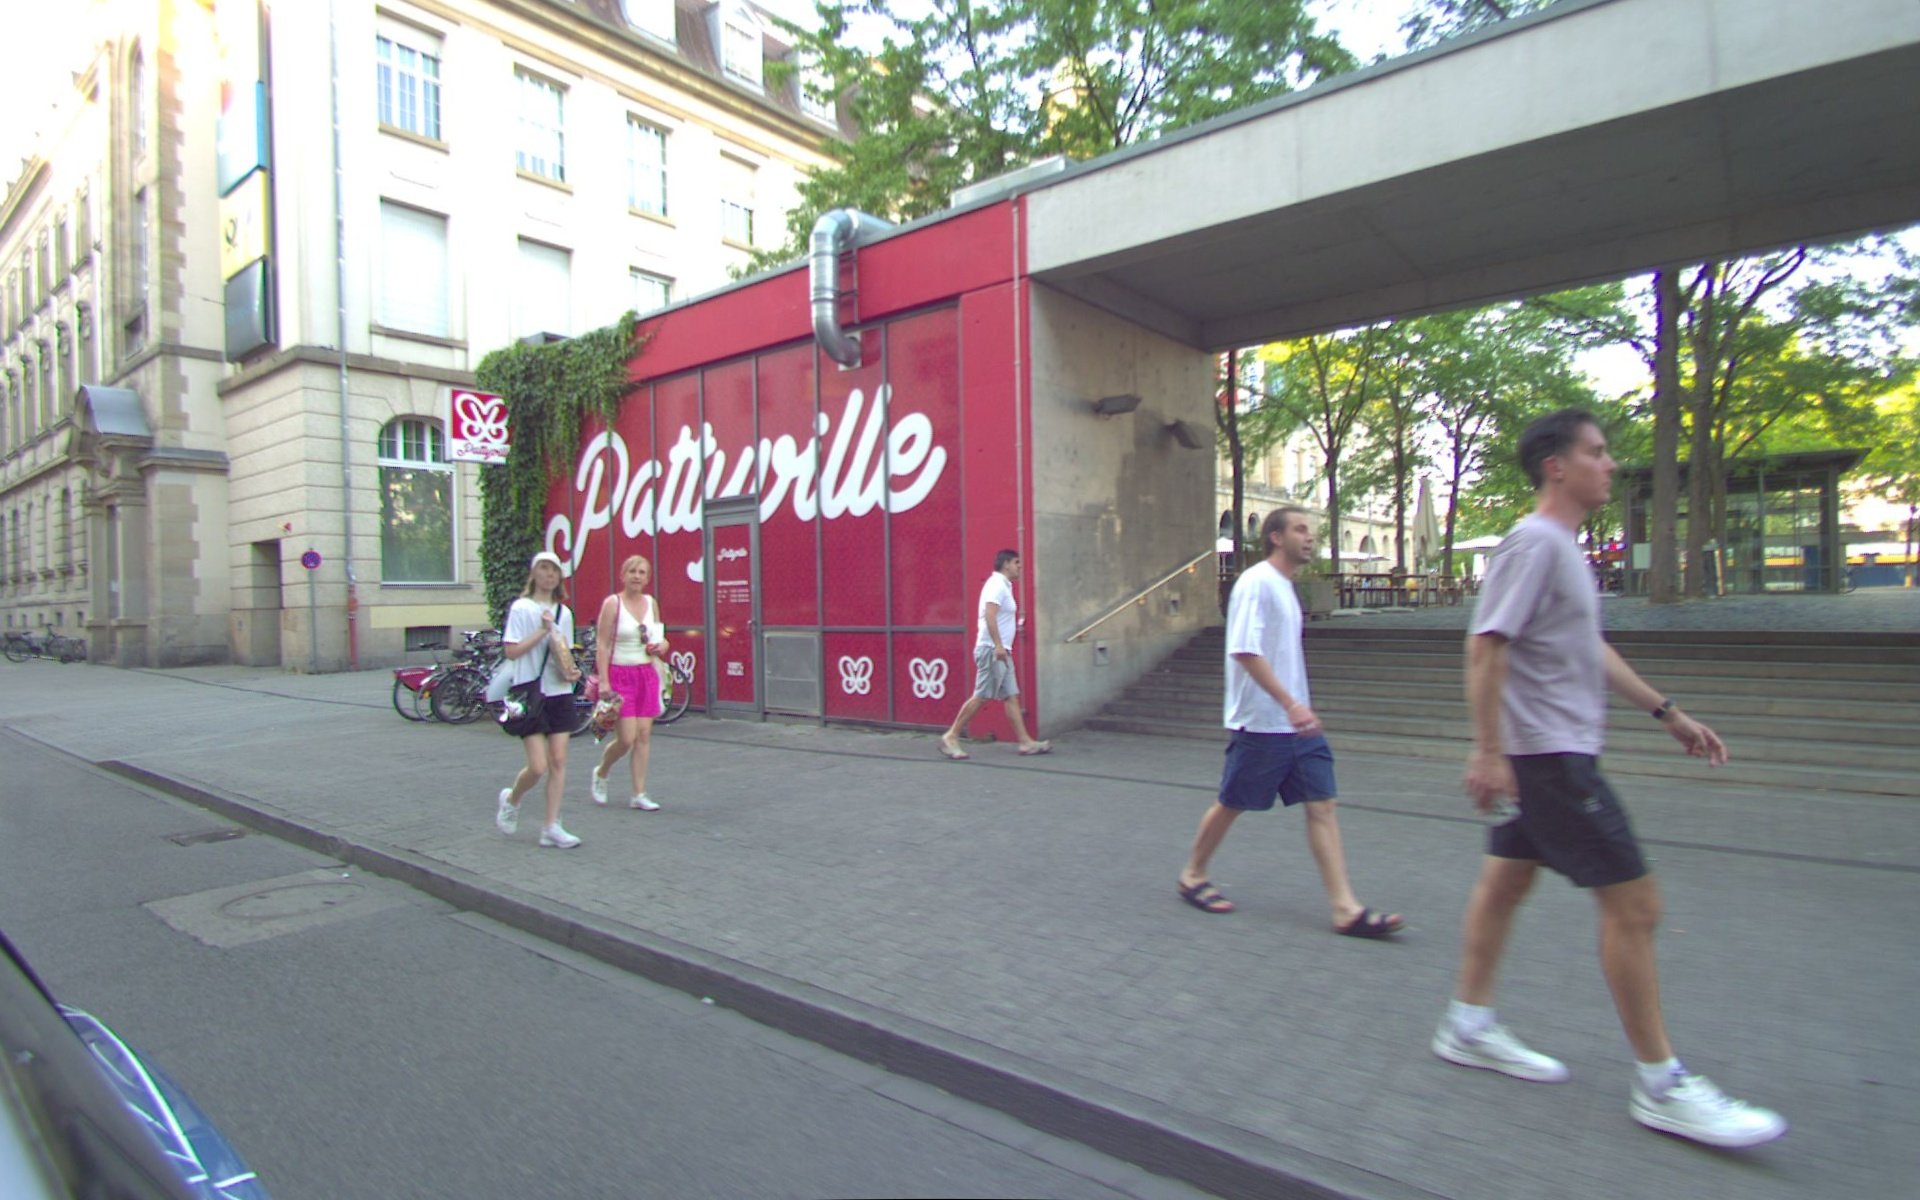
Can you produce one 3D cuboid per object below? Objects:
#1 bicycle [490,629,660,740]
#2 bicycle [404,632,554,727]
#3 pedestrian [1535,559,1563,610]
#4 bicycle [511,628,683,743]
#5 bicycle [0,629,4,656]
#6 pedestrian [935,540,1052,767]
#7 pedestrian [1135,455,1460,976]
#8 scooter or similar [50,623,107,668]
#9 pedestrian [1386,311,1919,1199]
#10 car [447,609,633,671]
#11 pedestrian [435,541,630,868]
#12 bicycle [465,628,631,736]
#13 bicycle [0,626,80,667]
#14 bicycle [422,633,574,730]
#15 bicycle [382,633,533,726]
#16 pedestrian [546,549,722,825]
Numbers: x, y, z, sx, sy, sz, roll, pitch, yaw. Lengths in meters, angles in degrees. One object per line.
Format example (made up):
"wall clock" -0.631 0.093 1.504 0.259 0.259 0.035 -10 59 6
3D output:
"bicycle" -4.414 0.931 11.700 0.500 1.116 1.775 -2 0 42
"bicycle" -6.448 1.033 13.644 0.499 1.116 1.777 -2 0 38
"pedestrian" 27.347 -0.700 46.986 0.802 2.348 0.741 -1 -1 -29
"bicycle" -4.049 0.922 11.405 0.500 1.116 1.775 -2 0 42
"bicycle" -39.597 1.771 40.441 0.618 1.069 1.922 -1 2 33
"pedestrian" 0.286 0.426 8.424 0.837 1.767 0.718 -3 0 4
"pedestrian" 1.379 0.401 4.142 1.008 1.826 0.734 -2 2 39
"scooter or similar" -25.700 1.318 29.521 0.494 1.242 1.126 -2 1 27
"pedestrian" 1.844 0.354 2.732 1.049 1.908 0.736 -2 0 40
"car" -10.430 0.952 25.333 1.748 1.381 3.966 -2 -1 38
"pedestrian" -2.552 0.571 6.030 0.984 1.763 0.642 -2 0 39
"bicycle" -4.890 0.941 12.116 0.500 1.116 1.775 -2 0 42
"bicycle" -28.859 1.429 31.632 0.616 1.069 1.928 -1 3 24
"bicycle" -6.034 1.026 13.304 0.499 1.116 1.777 -2 0 38
"bicycle" -6.794 1.044 13.765 0.499 1.116 1.776 -2 0 39
"pedestrian" -2.254 0.551 7.006 0.845 1.763 0.745 -2 1 39
